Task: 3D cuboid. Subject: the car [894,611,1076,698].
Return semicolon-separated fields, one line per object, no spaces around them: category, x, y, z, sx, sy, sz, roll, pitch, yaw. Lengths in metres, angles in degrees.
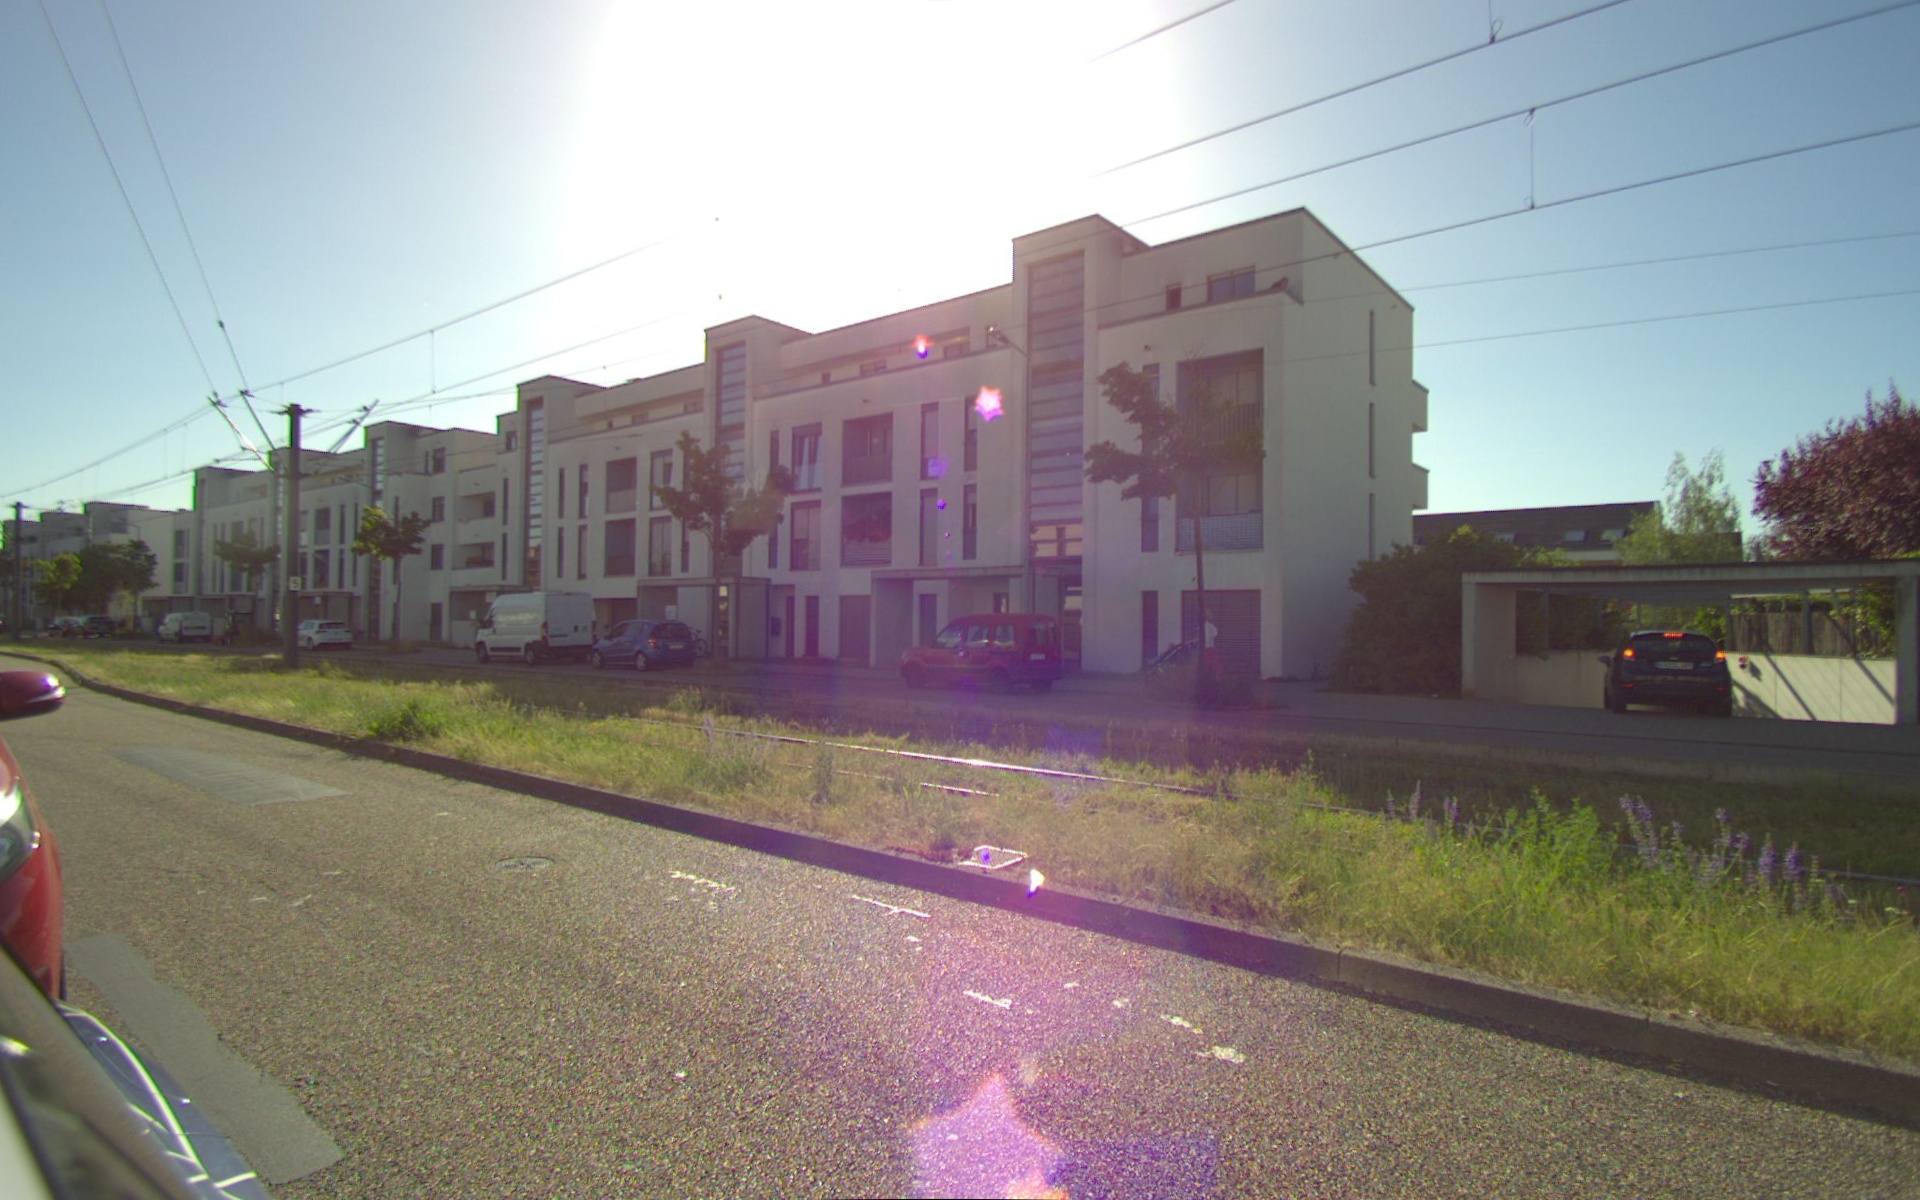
car;0.512;1.171;22.996;3.836;1.809;1.861;-1;-1;42

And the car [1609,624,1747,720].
car;12.650;1.188;18.032;1.703;1.441;3.700;1;0;31

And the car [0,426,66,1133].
car;-5.145;0.544;3.895;5.203;1.948;1.954;-1;0;42

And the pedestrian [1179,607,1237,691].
pedestrian;5.380;1.050;21.929;0.806;1.761;0.910;0;-1;-45

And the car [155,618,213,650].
car;-47.248;2.061;61.606;4.149;1.884;1.745;-1;-1;37

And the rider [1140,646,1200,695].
rider;4.695;1.558;22.643;0.769;1.010;1.046;0;-1;-44

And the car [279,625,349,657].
car;-31.155;1.939;48.793;4.149;1.443;1.503;-1;-1;37

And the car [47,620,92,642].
car;-67.556;2.335;76.768;4.149;1.611;1.745;-1;-1;37

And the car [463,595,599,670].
car;-15.344;1.127;36.039;5.583;2.463;2.119;-1;-1;39

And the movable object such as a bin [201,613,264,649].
movable object such as a bin;-41.344;1.737;57.460;4.149;1.952;1.745;-1;-1;37

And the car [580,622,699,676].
car;-10.048;1.493;31.643;3.840;1.548;1.805;-1;-1;41

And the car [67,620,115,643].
car;-63.035;2.258;73.396;4.149;1.611;1.745;-1;-1;37
